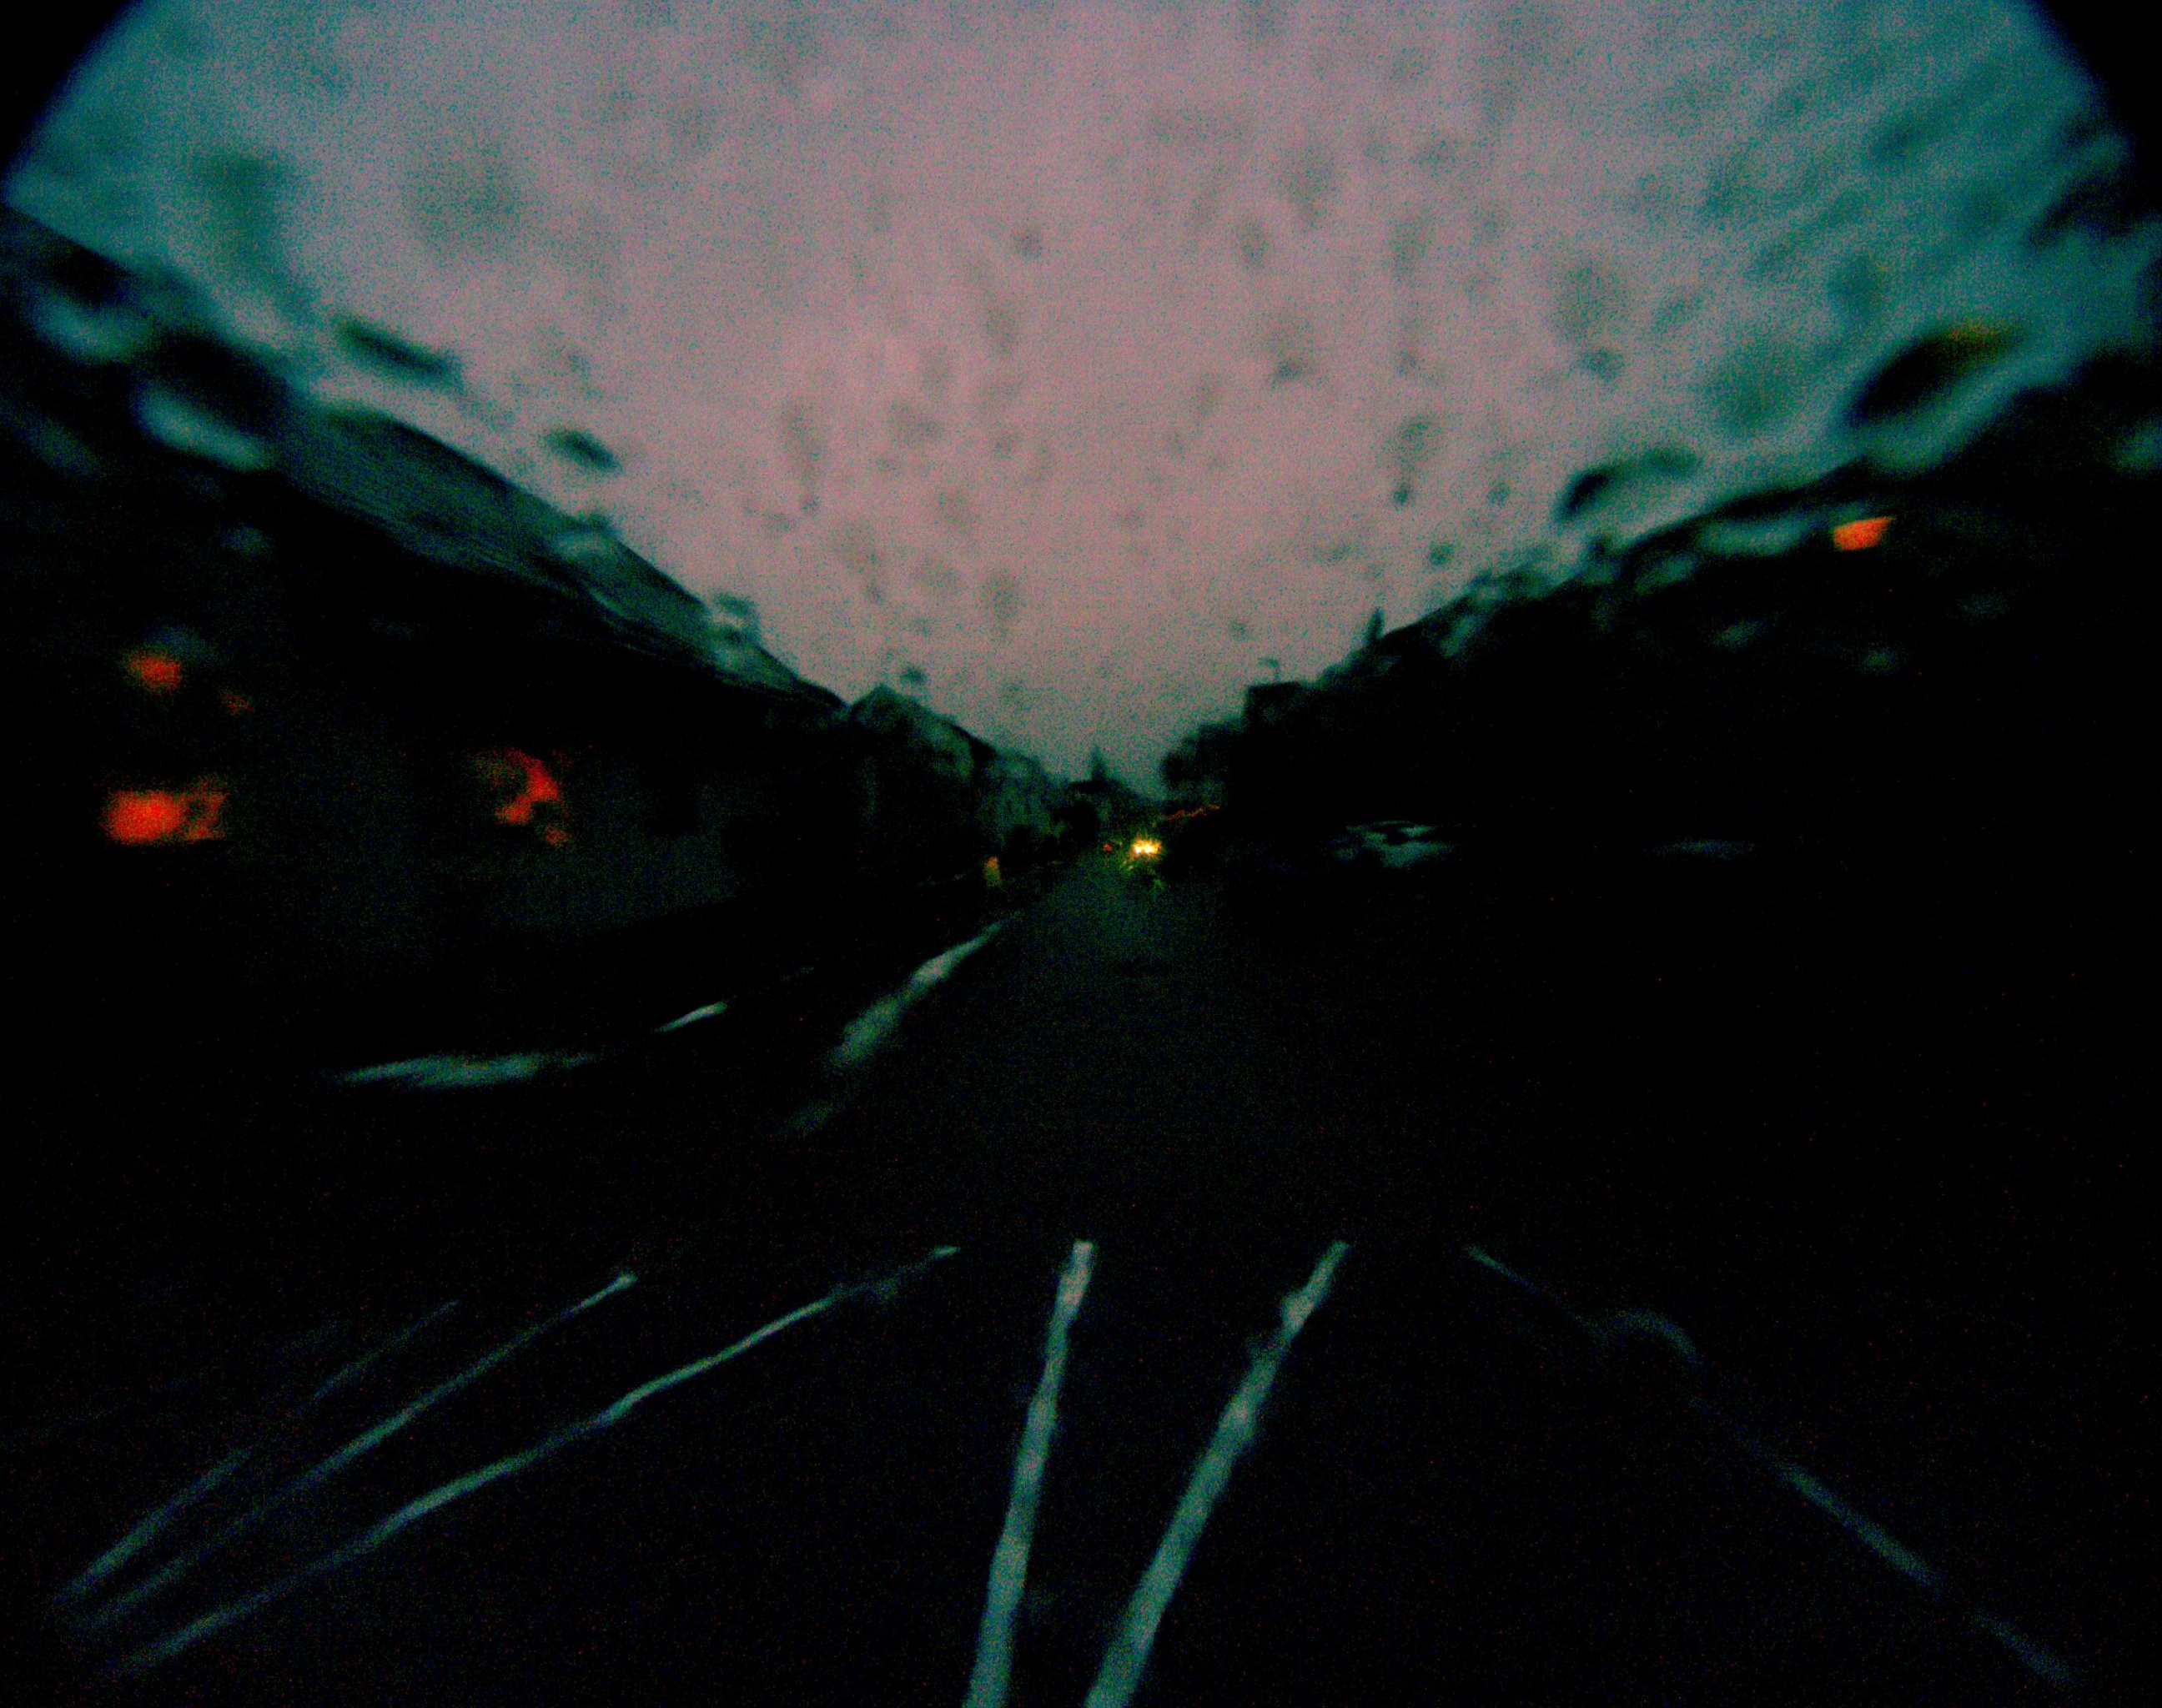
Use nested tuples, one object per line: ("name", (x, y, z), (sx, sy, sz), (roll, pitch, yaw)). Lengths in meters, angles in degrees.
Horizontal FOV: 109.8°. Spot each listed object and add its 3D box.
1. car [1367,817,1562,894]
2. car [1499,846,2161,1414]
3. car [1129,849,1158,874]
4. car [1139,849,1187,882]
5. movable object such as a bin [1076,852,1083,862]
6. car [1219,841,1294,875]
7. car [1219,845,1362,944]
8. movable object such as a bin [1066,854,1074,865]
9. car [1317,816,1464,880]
("car", (9.696, 0.033, 19.499), (3.995, 1.609, 1.889), (-4, 1, 7))
("car", (3.829, 0.746, 3.137), (1.799, 1.495, 4.309), (-2, 1, 0))
("car", (4.067, 0.470, 49.878), (1.622, 1.430, 3.655), (-3, 1, 1))
("car", (4.048, 0.518, 38.189), (1.882, 1.386, 5.074), (-3, 1, 1))
("movable object such as a bin", (-0.151, 0.303, 80.190), (0.538, 0.933, 0.689), (-3, 1, 8))
("car", (8.999, 0.189, 39.249), (3.471, 1.519, 1.774), (-4, 1, 5))
("car", (3.951, 0.668, 15.059), (1.688, 1.575, 4.174), (-3, 1, 1))
("movable object such as a bin", (-0.995, 0.475, 67.906), (0.638, 0.912, 0.686), (-4, 2, 6))
("car", (10.163, -0.220, 25.192), (3.996, 1.737, 2.000), (-4, 2, 2))
